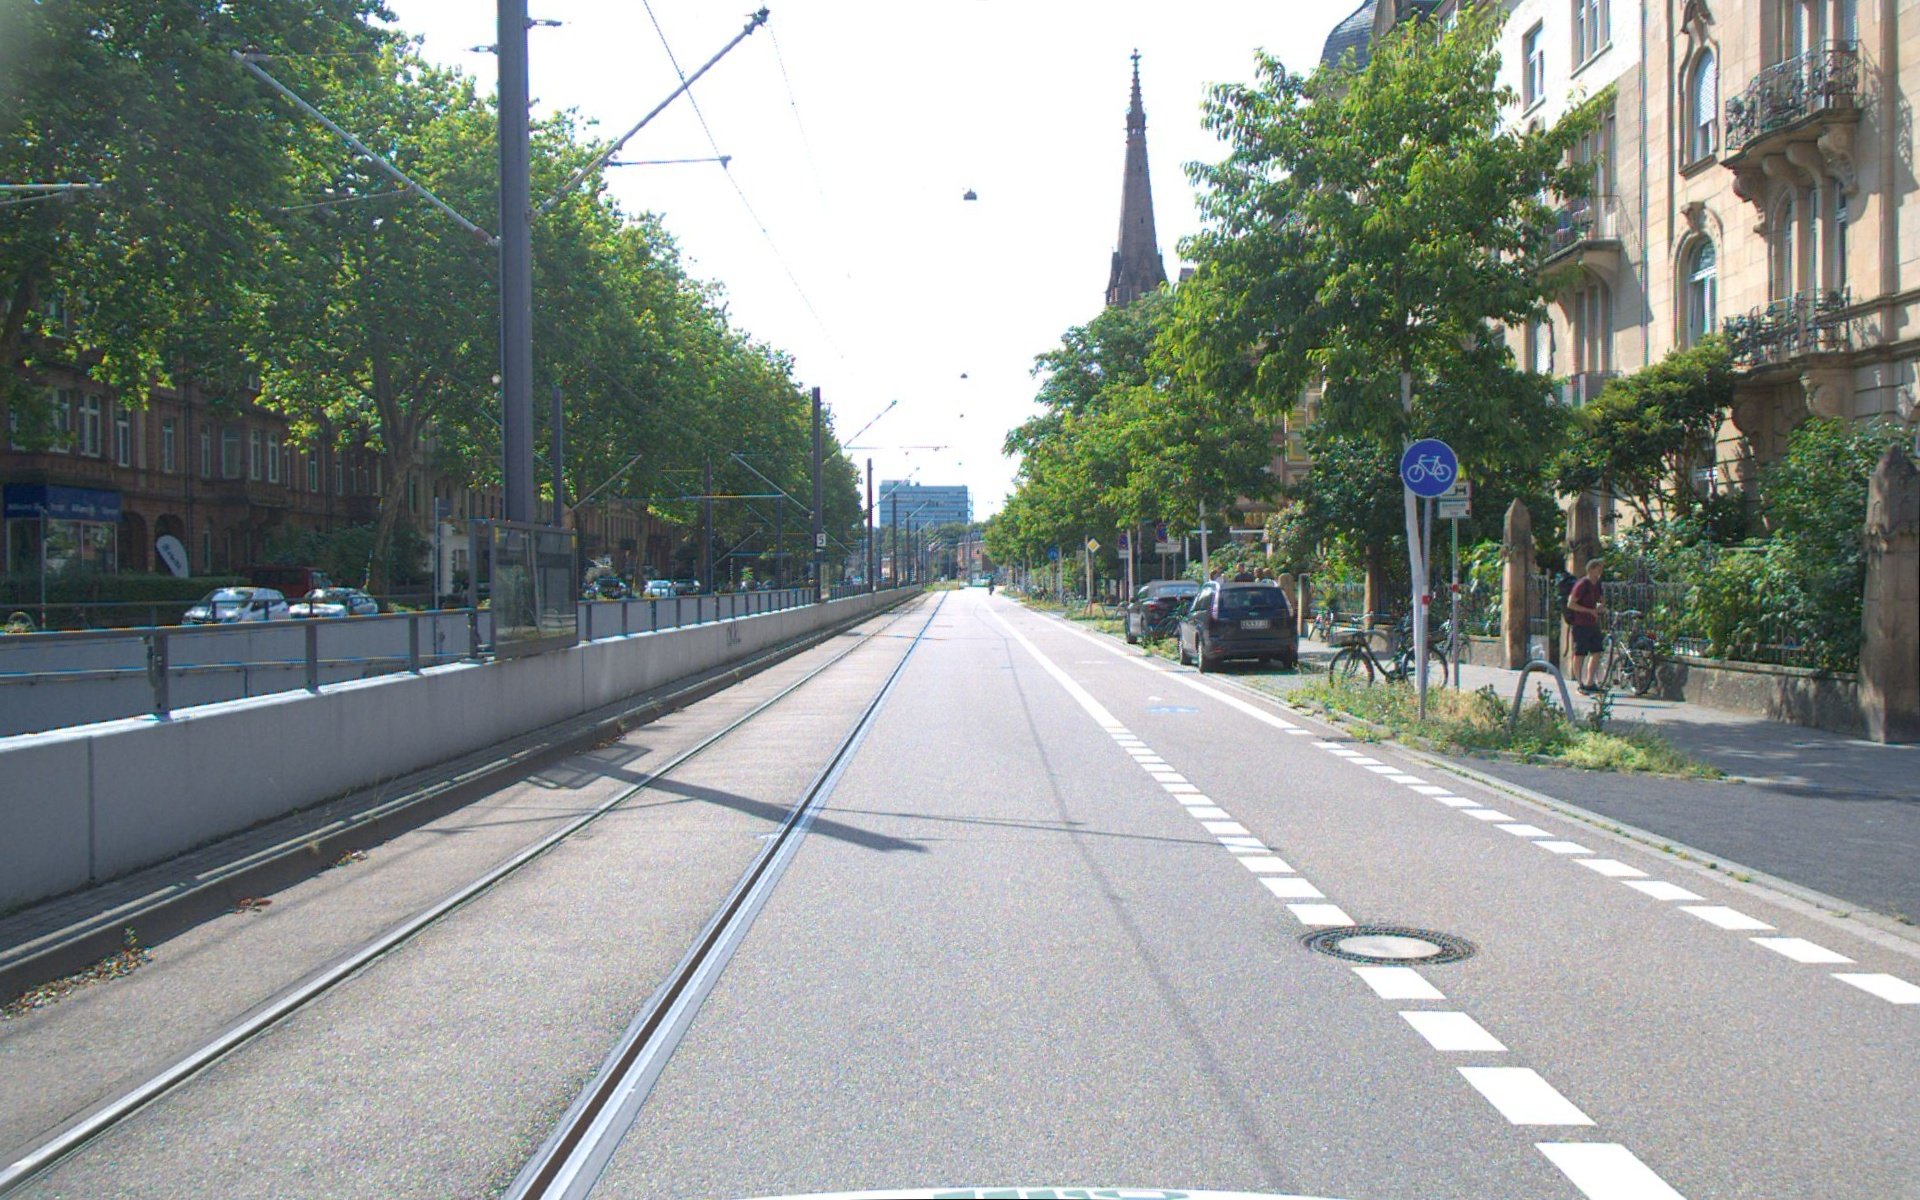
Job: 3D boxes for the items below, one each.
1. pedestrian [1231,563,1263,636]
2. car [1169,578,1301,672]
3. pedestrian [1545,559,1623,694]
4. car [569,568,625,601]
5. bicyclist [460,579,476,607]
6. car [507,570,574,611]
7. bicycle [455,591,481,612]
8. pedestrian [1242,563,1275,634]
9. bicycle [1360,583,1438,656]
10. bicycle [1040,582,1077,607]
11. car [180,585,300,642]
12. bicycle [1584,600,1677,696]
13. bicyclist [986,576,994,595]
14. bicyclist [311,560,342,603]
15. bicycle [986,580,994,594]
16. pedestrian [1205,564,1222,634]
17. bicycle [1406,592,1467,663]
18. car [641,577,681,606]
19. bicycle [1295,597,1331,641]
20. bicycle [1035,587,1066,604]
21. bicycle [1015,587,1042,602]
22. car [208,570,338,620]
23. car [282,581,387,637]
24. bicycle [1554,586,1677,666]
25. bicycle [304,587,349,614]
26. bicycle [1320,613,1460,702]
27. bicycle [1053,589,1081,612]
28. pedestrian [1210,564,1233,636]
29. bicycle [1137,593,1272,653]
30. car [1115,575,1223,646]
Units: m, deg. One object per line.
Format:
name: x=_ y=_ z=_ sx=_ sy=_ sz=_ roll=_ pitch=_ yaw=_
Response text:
pedestrian: x=7.316 y=-0.011 z=42.194 sx=0.656 sy=1.836 sz=0.319 roll=-3 pitch=1 yaw=-2
car: x=4.921 y=0.392 z=30.201 sx=1.651 sy=1.528 sz=4.708 roll=-1 pitch=1 yaw=0
pedestrian: x=7.842 y=0.326 z=20.810 sx=0.708 sy=1.657 sz=0.725 roll=-1 pitch=0 yaw=0
car: x=-19.811 y=-0.865 z=90.463 sx=1.952 sy=1.665 sz=4.001 roll=-3 pitch=1 yaw=2
bicyclist: x=-22.296 y=-0.317 z=74.952 sx=0.524 sy=1.253 sz=0.723 roll=0 pitch=0 yaw=0
car: x=-19.133 y=-0.456 z=75.554 sx=1.682 sy=1.720 sz=3.733 roll=-2 pitch=2 yaw=6
bicycle: x=-22.294 y=0.073 z=74.980 sx=0.524 sy=0.929 sz=2.149 roll=0 pitch=1 yaw=0
pedestrian: x=7.298 y=-0.044 z=40.468 sx=0.520 sy=1.705 sz=0.571 roll=-3 pitch=1 yaw=-19
bicycle: x=8.317 y=0.339 z=31.472 sx=0.644 sy=1.270 sz=2.943 roll=-3 pitch=1 yaw=0
bicycle: x=5.141 y=-0.286 z=86.344 sx=1.784 sy=1.165 sz=0.650 roll=-3 pitch=1 yaw=-11
car: x=-18.900 y=0.318 z=43.581 sx=1.466 sy=1.326 sz=3.492 roll=-3 pitch=1 yaw=2
bicycle: x=8.344 y=0.575 z=20.635 sx=0.460 sy=1.127 sz=1.711 roll=0 pitch=0 yaw=0
bicyclist: x=2.843 y=-1.385 z=155.986 sx=0.755 sy=1.760 sz=1.026 roll=0 pitch=0 yaw=0
bicyclist: x=-22.122 y=-0.638 z=57.753 sx=0.674 sy=1.481 sz=1.044 roll=0 pitch=0 yaw=0
bicycle: x=2.843 y=-1.224 z=156.042 sx=0.782 sy=1.258 sz=2.778 roll=0 pitch=1 yaw=1
pedestrian: x=6.407 y=-0.030 z=41.847 sx=0.311 sy=1.736 sz=0.461 roll=-3 pitch=1 yaw=14
bicycle: x=8.224 y=0.454 z=28.616 sx=0.419 sy=1.159 sz=2.023 roll=-3 pitch=1 yaw=0
car: x=-19.615 y=-0.592 z=108.657 sx=1.801 sy=1.758 sz=4.000 roll=-3 pitch=1 yaw=0
bicycle: x=8.227 y=0.437 z=38.604 sx=0.419 sy=0.956 sz=1.807 roll=-3 pitch=1 yaw=0
bicycle: x=5.426 y=-0.292 z=98.988 sx=1.780 sy=0.918 sz=0.651 roll=-3 pitch=1 yaw=-4
bicycle: x=4.756 y=-0.395 z=115.175 sx=1.780 sy=0.918 sz=0.603 roll=-3 pitch=1 yaw=-4
car: x=-27.385 y=-0.203 z=66.047 sx=4.312 sy=1.952 sz=1.999 roll=0 pitch=1 yaw=-2
car: x=-18.926 y=0.239 z=50.196 sx=1.609 sy=1.508 sz=4.001 roll=-3 pitch=1 yaw=-1
bicycle: x=9.955 y=0.389 z=25.146 sx=1.673 sy=1.088 sz=0.471 roll=-3 pitch=1 yaw=-6
bicycle: x=-22.122 y=0.000 z=57.773 sx=0.657 sy=0.929 sz=2.368 roll=0 pitch=1 yaw=0
bicycle: x=5.484 y=0.723 z=21.120 sx=1.673 sy=1.088 sz=0.471 roll=-1 pitch=0 yaw=-6
bicycle: x=5.248 y=0.033 z=81.172 sx=0.640 sy=1.057 sz=1.810 roll=-3 pitch=1 yaw=-21
pedestrian: x=6.750 y=0.008 z=42.773 sx=0.450 sy=1.836 sz=0.319 roll=-3 pitch=1 yaw=-2
bicycle: x=5.423 y=0.494 z=36.705 sx=2.895 sy=1.268 sz=0.790 roll=-1 pitch=0 yaw=-13
car: x=5.017 y=0.215 z=40.219 sx=1.763 sy=1.553 sz=4.486 roll=-2 pitch=1 yaw=-4
